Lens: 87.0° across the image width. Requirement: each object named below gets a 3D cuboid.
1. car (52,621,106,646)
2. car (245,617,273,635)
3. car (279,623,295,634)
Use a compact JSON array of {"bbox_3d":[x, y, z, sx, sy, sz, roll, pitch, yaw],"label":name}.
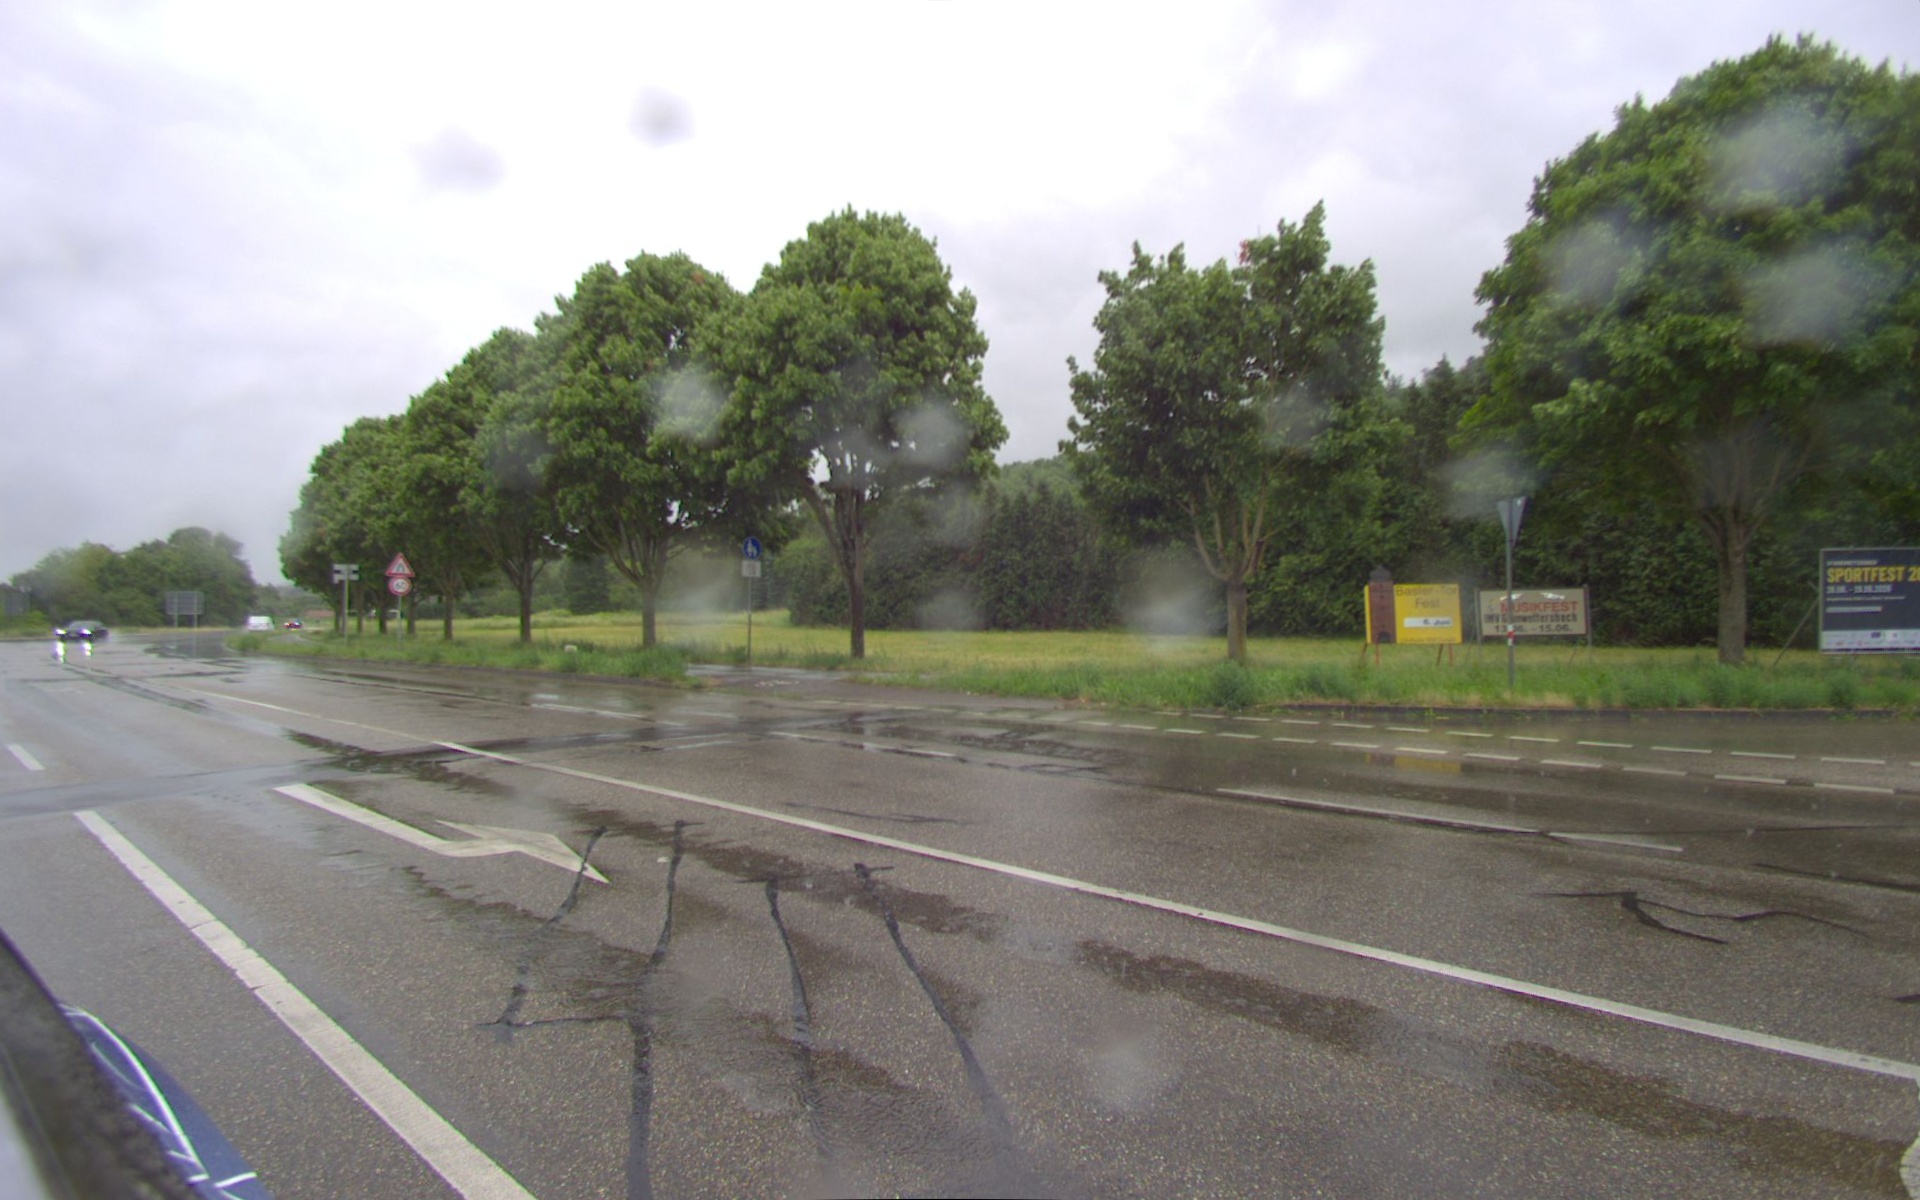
[{"bbox_3d":[-60.483,2.246,69.551,1.884,1.597,4.116,0,0,-28],"label":"car"},{"bbox_3d":[-78.609,2.923,113.546,2.077,1.907,4.806,0,-1,-28],"label":"car"},{"bbox_3d":[-114.034,4.863,171.421,1.884,1.701,4.116,0,-1,-28],"label":"car"}]
